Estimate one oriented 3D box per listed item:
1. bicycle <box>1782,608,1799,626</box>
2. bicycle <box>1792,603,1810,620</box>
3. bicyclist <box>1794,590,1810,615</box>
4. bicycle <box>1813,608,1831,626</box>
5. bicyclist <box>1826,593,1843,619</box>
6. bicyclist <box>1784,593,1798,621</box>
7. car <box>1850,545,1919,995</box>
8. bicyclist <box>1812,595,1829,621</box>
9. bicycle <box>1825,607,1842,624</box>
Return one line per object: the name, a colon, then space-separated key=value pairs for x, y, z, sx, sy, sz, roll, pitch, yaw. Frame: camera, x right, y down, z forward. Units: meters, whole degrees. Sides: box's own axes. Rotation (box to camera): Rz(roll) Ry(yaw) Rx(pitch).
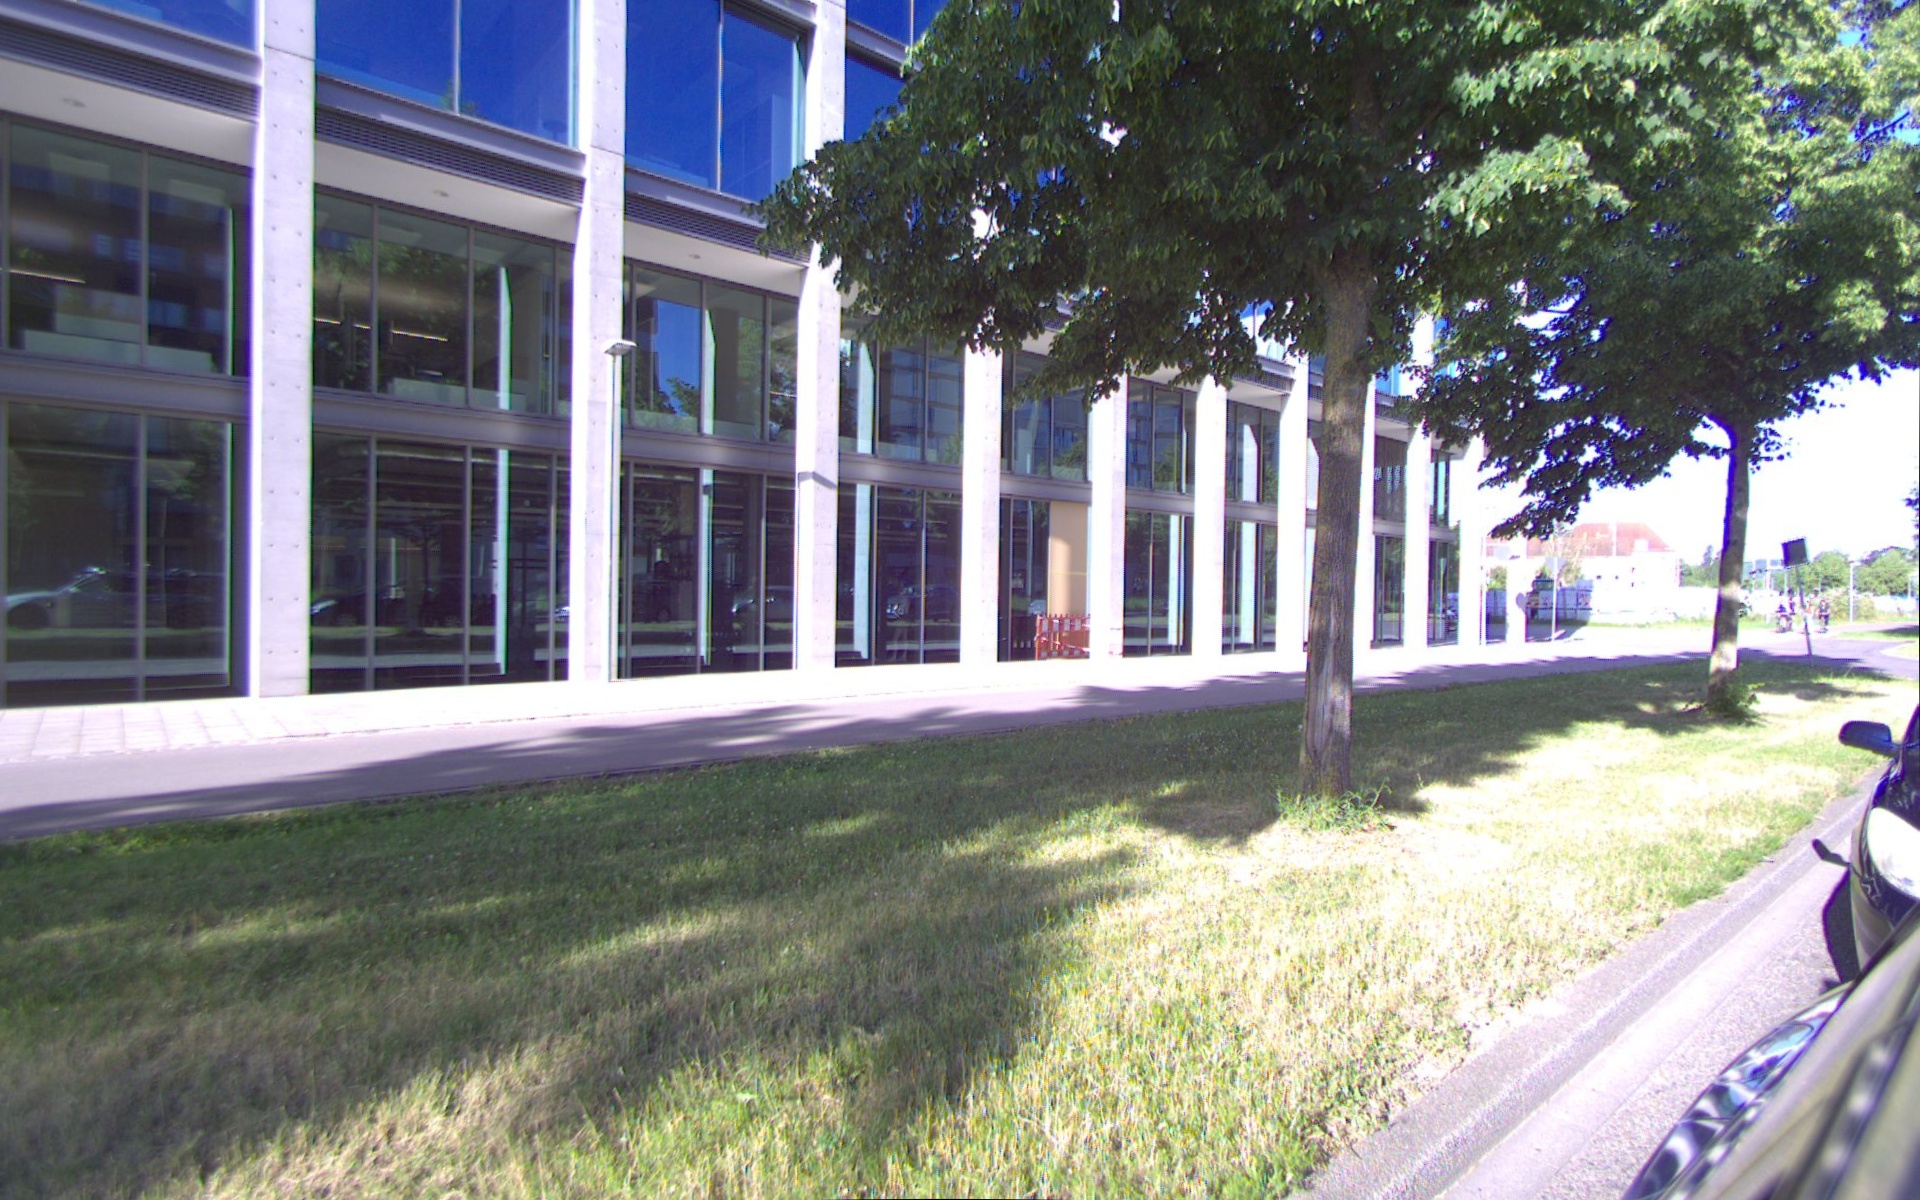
bicycle: x=39.906 y=0.805 z=48.634 sx=1.296 sy=0.828 sz=0.415 roll=-1 pitch=0 yaw=-40
bicycle: x=42.836 y=0.596 z=51.527 sx=1.321 sy=0.828 sz=0.464 roll=-1 pitch=0 yaw=-40
bicyclist: x=42.908 y=0.127 z=51.586 sx=0.449 sy=1.305 sz=0.534 roll=0 pitch=0 yaw=-40
bicycle: x=40.649 y=0.809 z=47.721 sx=1.321 sy=0.828 sz=0.464 roll=-1 pitch=0 yaw=-40
bicyclist: x=43.698 y=0.297 z=50.572 sx=0.512 sy=1.305 sz=0.534 roll=0 pitch=0 yaw=-40
bicyclist: x=39.940 y=0.336 z=48.660 sx=0.410 sy=1.305 sz=0.448 roll=0 pitch=0 yaw=-40
car: x=5.122 y=0.591 z=4.177 sx=3.719 sy=1.541 sz=1.685 roll=0 pitch=1 yaw=-41
bicyclist: x=40.640 y=0.377 z=47.776 sx=0.498 sy=1.232 sz=0.534 roll=0 pitch=0 yaw=-40
bicycle: x=43.647 y=0.778 z=50.557 sx=1.321 sy=0.828 sz=0.464 roll=-1 pitch=0 yaw=-40
